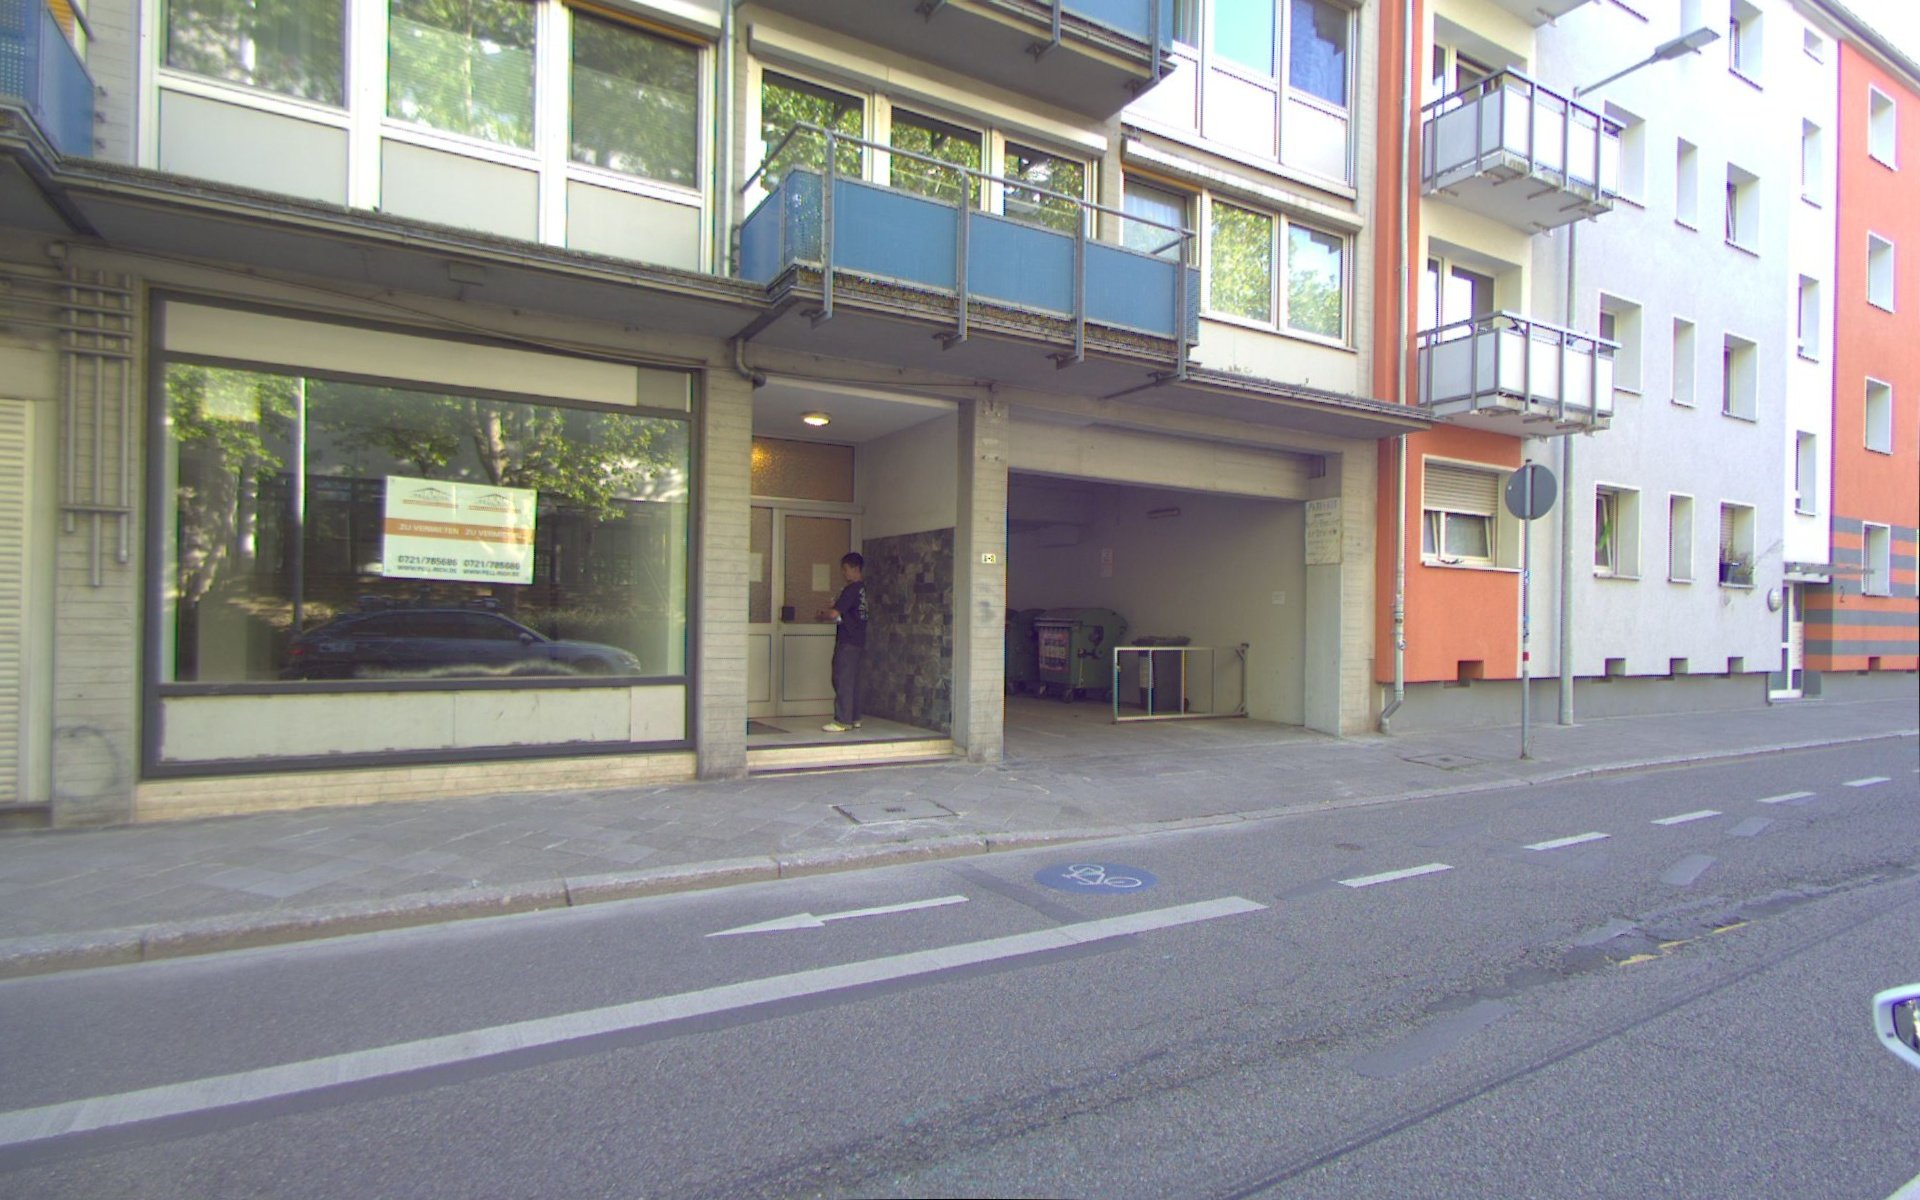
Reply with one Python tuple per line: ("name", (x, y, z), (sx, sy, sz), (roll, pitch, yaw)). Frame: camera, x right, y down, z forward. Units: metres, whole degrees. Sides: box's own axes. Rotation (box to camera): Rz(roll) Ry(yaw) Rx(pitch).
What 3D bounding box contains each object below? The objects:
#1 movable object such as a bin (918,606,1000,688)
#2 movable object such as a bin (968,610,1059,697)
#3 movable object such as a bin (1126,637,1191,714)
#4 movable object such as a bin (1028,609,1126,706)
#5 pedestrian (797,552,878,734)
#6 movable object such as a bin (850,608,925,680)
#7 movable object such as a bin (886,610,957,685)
("movable object such as a bin", (-0.028, 0.850, 18.662), (1.011, 1.462, 1.318), (1, 0, -29))
("movable object such as a bin", (0.899, 0.888, 17.154), (1.011, 1.409, 1.319), (1, 0, -27))
("movable object such as a bin", (2.863, 1.071, 14.499), (0.704, 1.054, 0.583), (1, 0, -30))
("movable object such as a bin", (1.819, 0.869, 15.820), (1.009, 1.438, 1.321), (1, 0, -23))
("pedestrian", (-1.222, 0.416, 10.091), (0.518, 1.764, 0.630), (1, 0, 27))
("movable object such as a bin", (-1.491, 0.878, 20.653), (1.014, 1.409, 1.264), (1, 0, -37))
("movable object such as a bin", (-0.757, 0.907, 19.662), (1.012, 1.409, 1.046), (1, 0, -31))
